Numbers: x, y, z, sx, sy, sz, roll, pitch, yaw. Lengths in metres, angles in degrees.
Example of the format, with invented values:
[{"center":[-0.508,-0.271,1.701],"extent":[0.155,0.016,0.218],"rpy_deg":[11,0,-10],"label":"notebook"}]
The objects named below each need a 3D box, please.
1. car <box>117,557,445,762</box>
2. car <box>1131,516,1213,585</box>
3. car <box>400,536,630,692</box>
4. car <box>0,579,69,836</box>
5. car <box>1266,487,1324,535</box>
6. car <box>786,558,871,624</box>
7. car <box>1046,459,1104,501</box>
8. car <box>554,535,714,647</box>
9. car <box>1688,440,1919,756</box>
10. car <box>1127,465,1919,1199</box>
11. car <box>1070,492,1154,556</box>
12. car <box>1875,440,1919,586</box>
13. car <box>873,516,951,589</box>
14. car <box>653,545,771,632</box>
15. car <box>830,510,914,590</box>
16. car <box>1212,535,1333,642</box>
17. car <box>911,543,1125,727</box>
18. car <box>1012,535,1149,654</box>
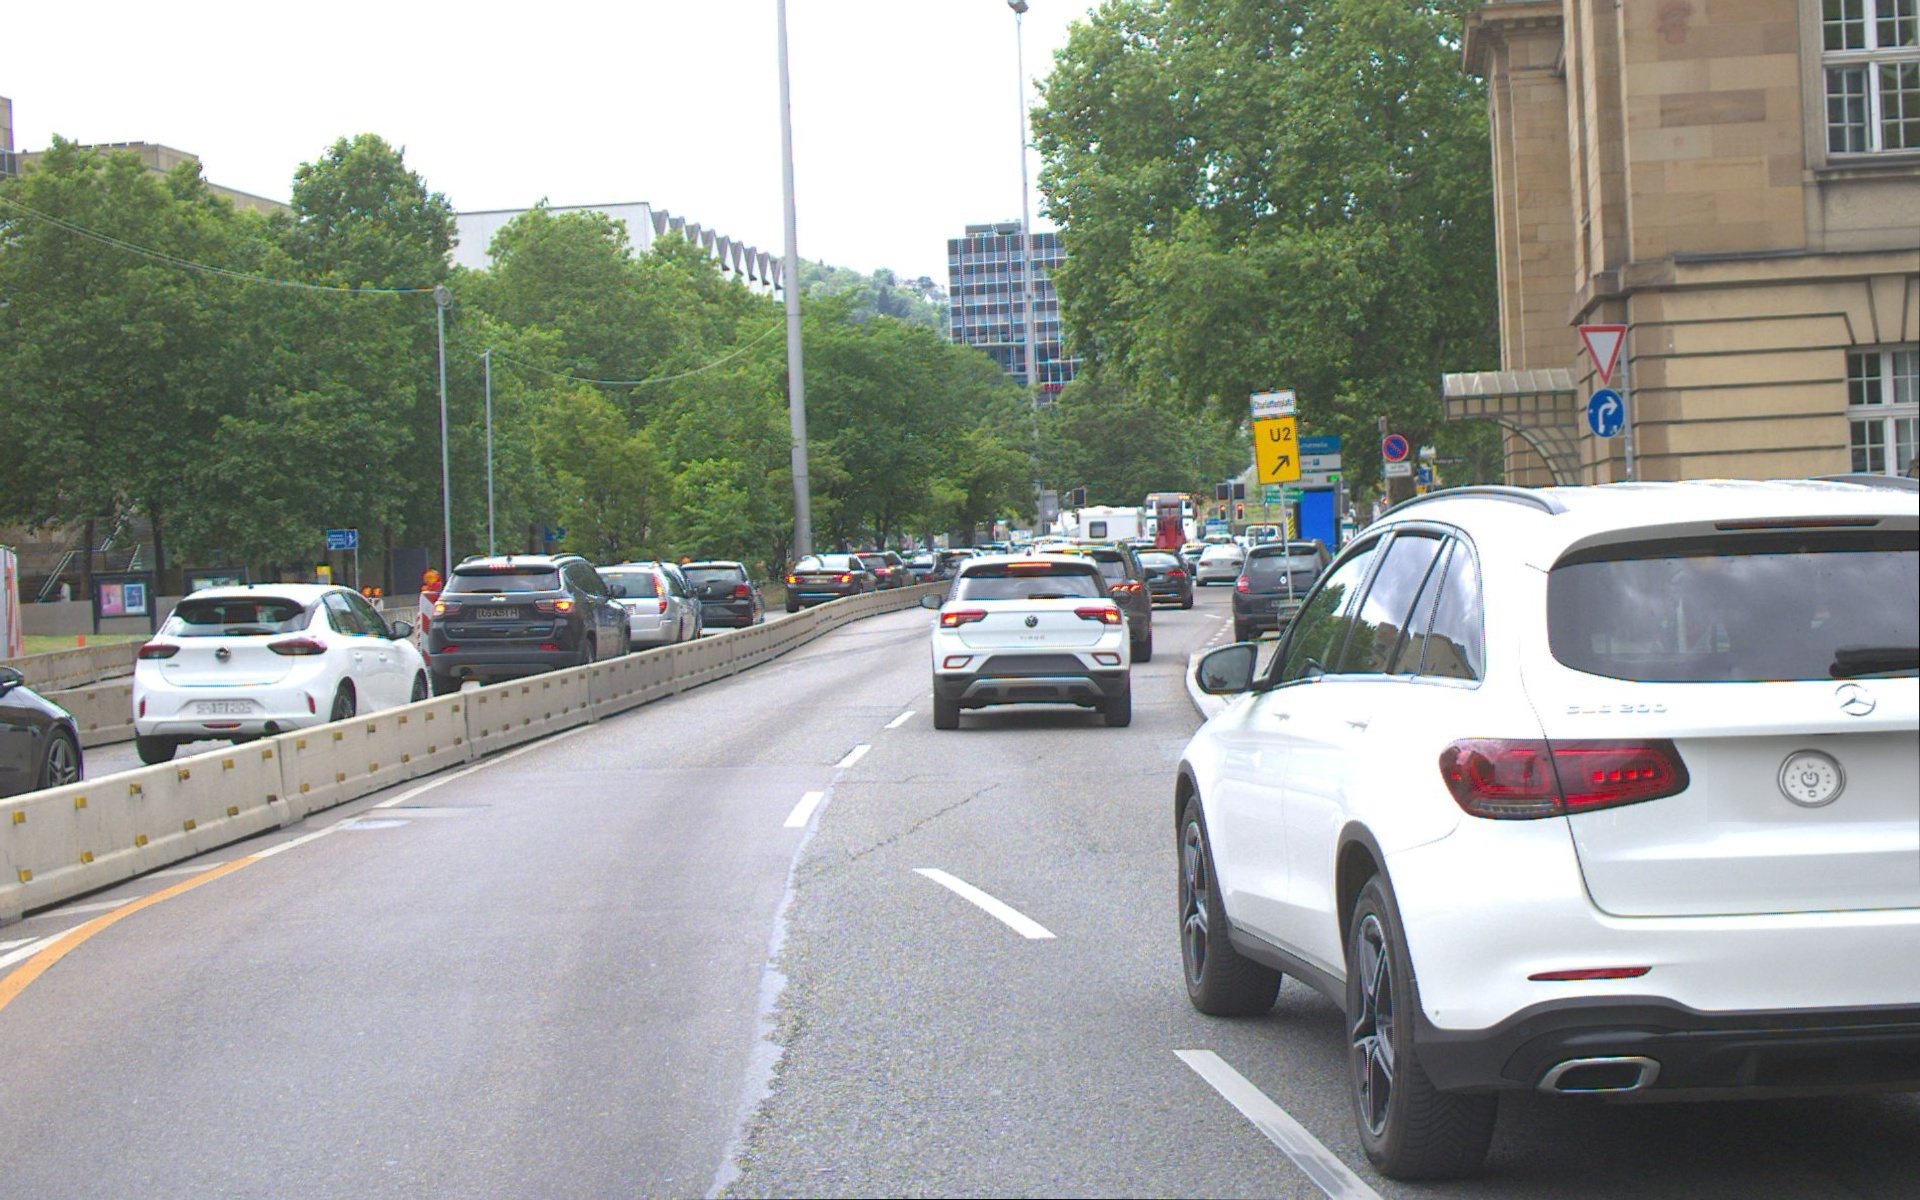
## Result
[{"center":[-5.644,0.455,28.963],"extent":[1.751,1.562,3.376],"rpy_deg":[-1,1,6],"label":"car"},{"center":[5.116,-1.202,82.445],"extent":[1.824,1.562,4.479],"rpy_deg":[0,2,5],"label":"car"},{"center":[-5.066,0.128,39.518],"extent":[1.751,1.562,3.376],"rpy_deg":[-5,1,6],"label":"car"},{"center":[-6.871,0.716,20.130],"extent":[1.751,1.562,4.330],"rpy_deg":[-2,1,6],"label":"car"},{"center":[17.877,-4.749,183.209],"extent":[2.583,2.366,5.525],"rpy_deg":[-3,1,10],"label":"car"},{"center":[-3.317,-0.255,87.456],"extent":[1.751,1.562,4.331],"rpy_deg":[-2,1,3],"label":"car"},{"center":[6.878,-7.137,204.901],"extent":[2.583,2.366,5.525],"rpy_deg":[-3,1,10],"label":"car"},{"center":[-4.887,-0.164,52.014],"extent":[1.751,1.562,4.331],"rpy_deg":[-2,1,3],"label":"car"},{"center":[5.265,-0.049,19.362],"extent":[1.751,1.562,4.330],"rpy_deg":[-2,0,6],"label":"car"},{"center":[1.695,0.511,9.466],"extent":[1.811,1.637,4.553],"rpy_deg":[-4,1,-4],"label":"car"},{"center":[6.100,-3.052,137.297],"extent":[2.583,2.366,5.525],"rpy_deg":[-3,1,10],"label":"car"},{"center":[11.237,-0.965,37.189],"extent":[1.856,1.562,4.330],"rpy_deg":[-2,0,6],"label":"car"},{"center":[-1.461,-1.481,106.397],"extent":[1.994,2.006,4.000],"rpy_deg":[-3,3,4],"label":"car"},{"center":[-4.755,-0.246,66.330],"extent":[1.751,1.562,4.331],"rpy_deg":[-2,1,2],"label":"car"},{"center":[-2.428,-1.417,95.751],"extent":[1.994,2.006,4.000],"rpy_deg":[-3,3,2],"label":"car"},{"center":[4.933,-0.214,54.264],"extent":[1.824,1.562,4.479],"rpy_deg":[0,2,5],"label":"car"},{"center":[0.608,0.272,32.053],"extent":[1.751,1.562,4.331],"rpy_deg":[-1,1,4],"label":"car"},{"center":[1.679,-0.091,48.741],"extent":[1.823,1.562,4.480],"rpy_deg":[-1,0,1],"label":"car"}]
